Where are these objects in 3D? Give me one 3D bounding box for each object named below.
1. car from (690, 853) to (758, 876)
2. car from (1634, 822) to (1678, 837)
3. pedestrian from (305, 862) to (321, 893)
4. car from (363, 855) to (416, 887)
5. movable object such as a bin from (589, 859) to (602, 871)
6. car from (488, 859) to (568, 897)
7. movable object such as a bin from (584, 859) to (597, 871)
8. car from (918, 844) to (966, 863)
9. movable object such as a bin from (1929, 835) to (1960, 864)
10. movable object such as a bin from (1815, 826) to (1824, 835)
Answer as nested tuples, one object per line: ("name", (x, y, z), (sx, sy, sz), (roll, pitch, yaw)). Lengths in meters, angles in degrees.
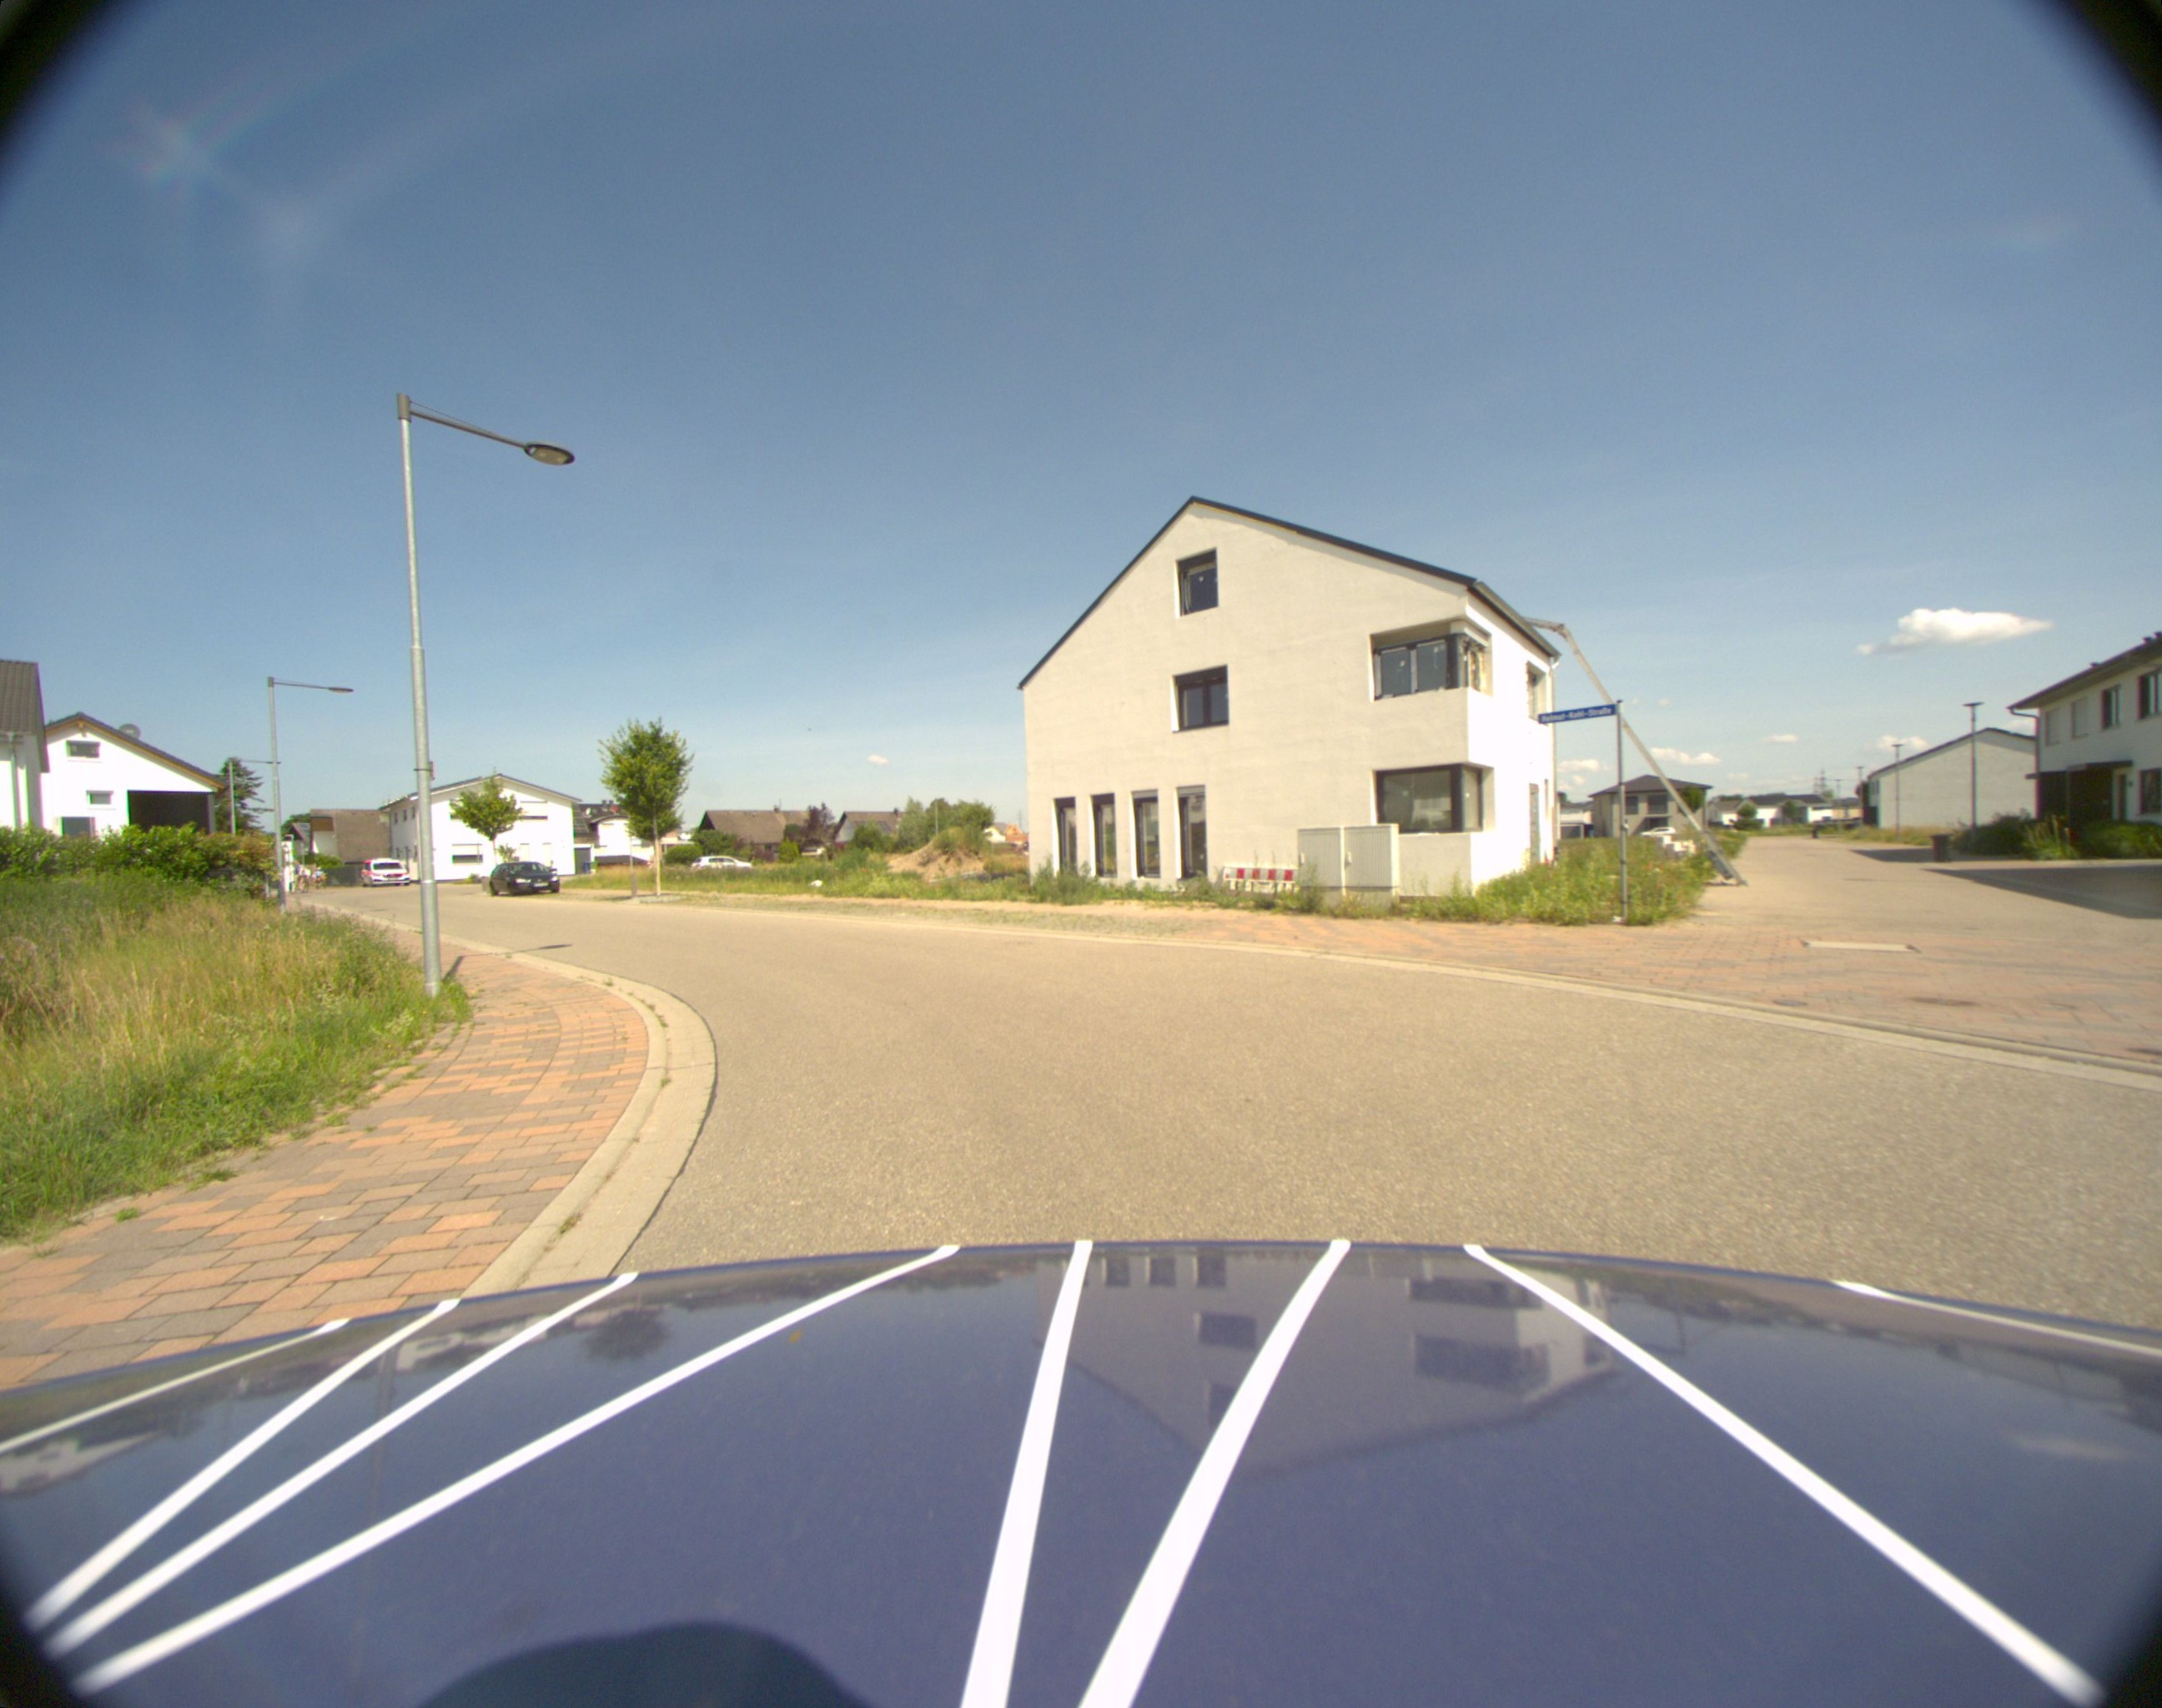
("car", (-25.580, 0.747, 54.520), (4.008, 1.494, 1.804), (-3, 2, -45))
("car", (67.108, -2.834, 88.749), (3.989, 1.543, 1.838), (-1, 1, 34))
("pedestrian", (-43.113, 1.308, 42.637), (0.817, 1.710, 0.552), (0, 2, 44))
("car", (-45.101, 1.079, 49.522), (4.546, 1.875, 1.860), (-1, 3, 40))
("movable object such as a bin", (-39.474, 0.893, 61.788), (0.739, 0.999, 0.687), (0, 2, 43))
("car", (-24.287, 1.030, 33.324), (4.132, 1.446, 1.821), (-1, 3, 40))
("movable object such as a bin", (-40.189, 0.903, 62.213), (0.739, 0.999, 0.687), (0, 2, 43))
("car", (-12.533, -0.063, 68.649), (1.804, 1.607, 4.008), (-1, 1, 42))
("movable object such as a bin", (27.600, -0.143, 24.288), (0.596, 0.916, 0.462), (-1, 2, 43))
("movable object such as a bin", (75.244, -2.418, 77.432), (0.596, 0.916, 0.462), (-1, 2, 43))
